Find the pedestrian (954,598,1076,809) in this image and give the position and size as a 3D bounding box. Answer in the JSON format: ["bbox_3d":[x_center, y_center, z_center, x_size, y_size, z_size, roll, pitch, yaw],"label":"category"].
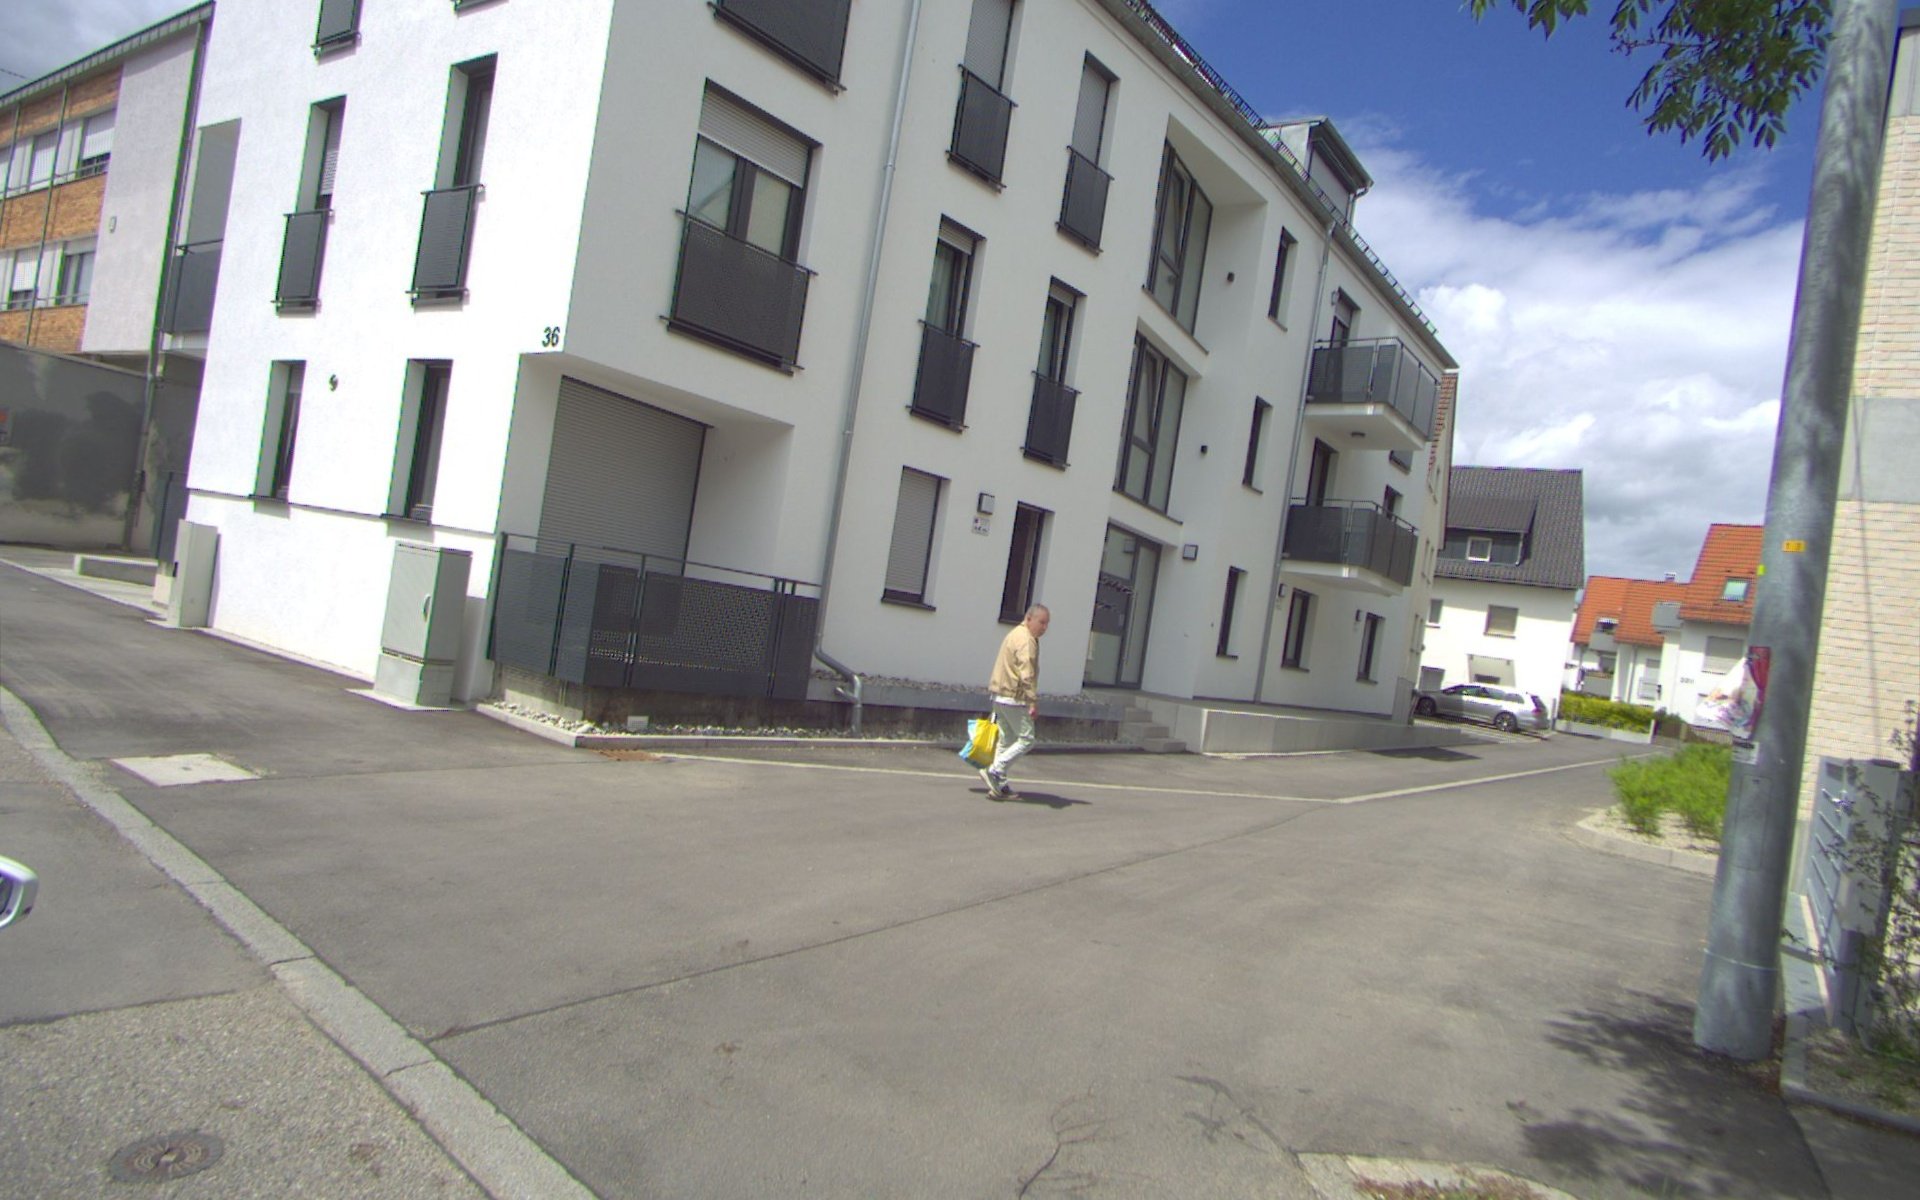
[{"bbox_3d":[0.457,0.856,8.577,0.608,1.667,0.735,7,0,-21],"label":"pedestrian"}]

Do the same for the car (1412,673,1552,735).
[{"bbox_3d":[18.198,3.612,35.130,3.943,1.503,1.777,7,-1,40],"label":"car"}]
